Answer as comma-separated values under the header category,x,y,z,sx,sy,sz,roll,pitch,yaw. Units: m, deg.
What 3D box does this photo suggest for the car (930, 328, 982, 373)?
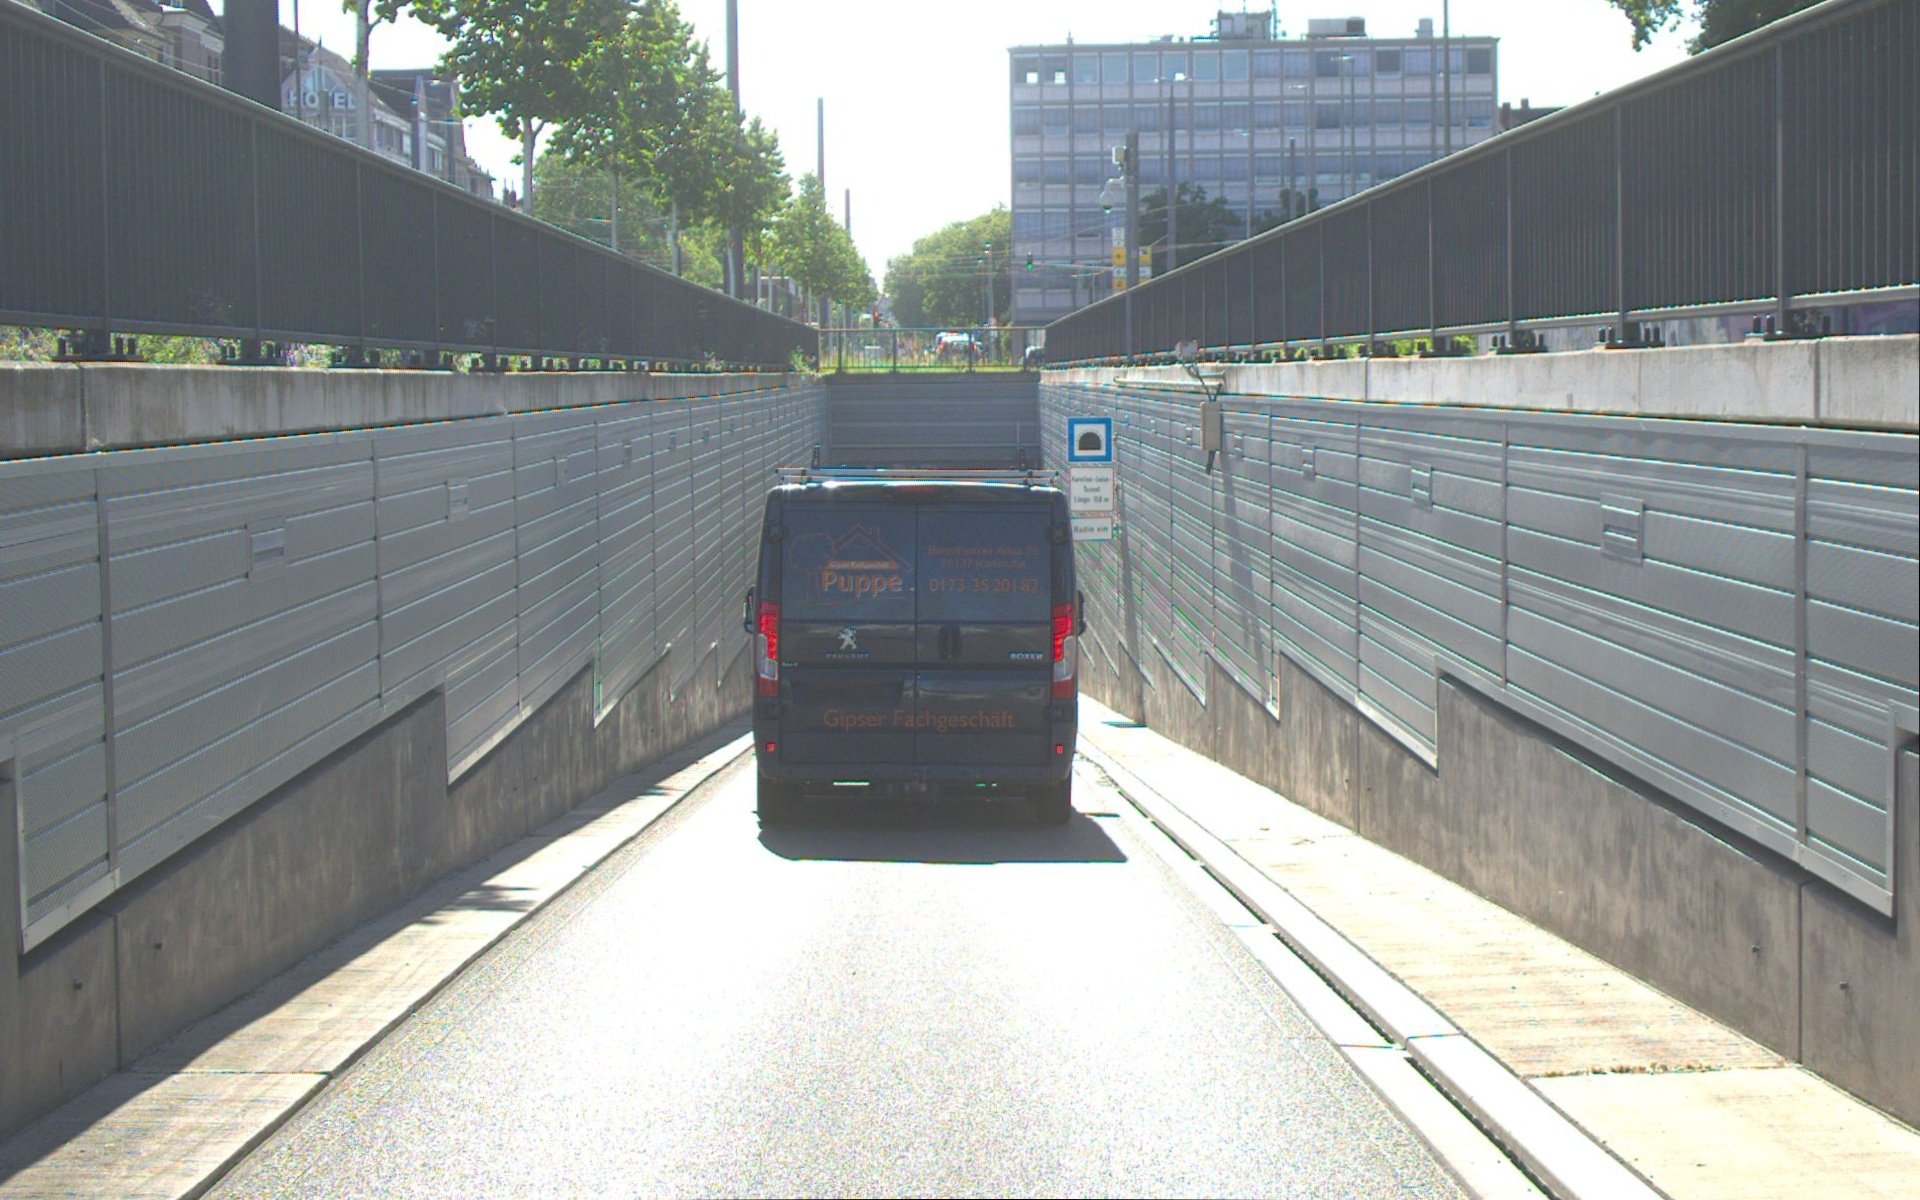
category,x,y,z,sx,sy,sz,roll,pitch,yaw
car,-0.172,-8.889,122.587,1.740,1.556,4.001,0,4,-2

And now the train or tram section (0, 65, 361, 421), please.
category,x,y,z,sx,sy,sz,roll,pitch,yaw
train or tram section,-9.574,-4.195,42.694,2.612,3.840,9.973,1,3,-1

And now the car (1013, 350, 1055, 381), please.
category,x,y,z,sx,sy,sz,roll,pitch,yaw
car,3.433,-10.860,159.488,1.740,1.416,4.001,0,4,-2

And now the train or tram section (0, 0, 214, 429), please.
category,x,y,z,sx,sy,sz,roll,pitch,yaw
train or tram section,-9.430,-3.500,31.173,2.610,3.807,13.094,1,3,-1

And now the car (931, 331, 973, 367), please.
category,x,y,z,sx,sy,sz,roll,pitch,yaw
car,-0.353,-10.978,150.437,1.740,1.556,4.001,0,4,-2

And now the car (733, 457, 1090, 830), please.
category,x,y,z,sx,sy,sz,roll,pitch,yaw
car,-0.288,0.288,23.342,2.158,2.258,4.636,1,-1,0
